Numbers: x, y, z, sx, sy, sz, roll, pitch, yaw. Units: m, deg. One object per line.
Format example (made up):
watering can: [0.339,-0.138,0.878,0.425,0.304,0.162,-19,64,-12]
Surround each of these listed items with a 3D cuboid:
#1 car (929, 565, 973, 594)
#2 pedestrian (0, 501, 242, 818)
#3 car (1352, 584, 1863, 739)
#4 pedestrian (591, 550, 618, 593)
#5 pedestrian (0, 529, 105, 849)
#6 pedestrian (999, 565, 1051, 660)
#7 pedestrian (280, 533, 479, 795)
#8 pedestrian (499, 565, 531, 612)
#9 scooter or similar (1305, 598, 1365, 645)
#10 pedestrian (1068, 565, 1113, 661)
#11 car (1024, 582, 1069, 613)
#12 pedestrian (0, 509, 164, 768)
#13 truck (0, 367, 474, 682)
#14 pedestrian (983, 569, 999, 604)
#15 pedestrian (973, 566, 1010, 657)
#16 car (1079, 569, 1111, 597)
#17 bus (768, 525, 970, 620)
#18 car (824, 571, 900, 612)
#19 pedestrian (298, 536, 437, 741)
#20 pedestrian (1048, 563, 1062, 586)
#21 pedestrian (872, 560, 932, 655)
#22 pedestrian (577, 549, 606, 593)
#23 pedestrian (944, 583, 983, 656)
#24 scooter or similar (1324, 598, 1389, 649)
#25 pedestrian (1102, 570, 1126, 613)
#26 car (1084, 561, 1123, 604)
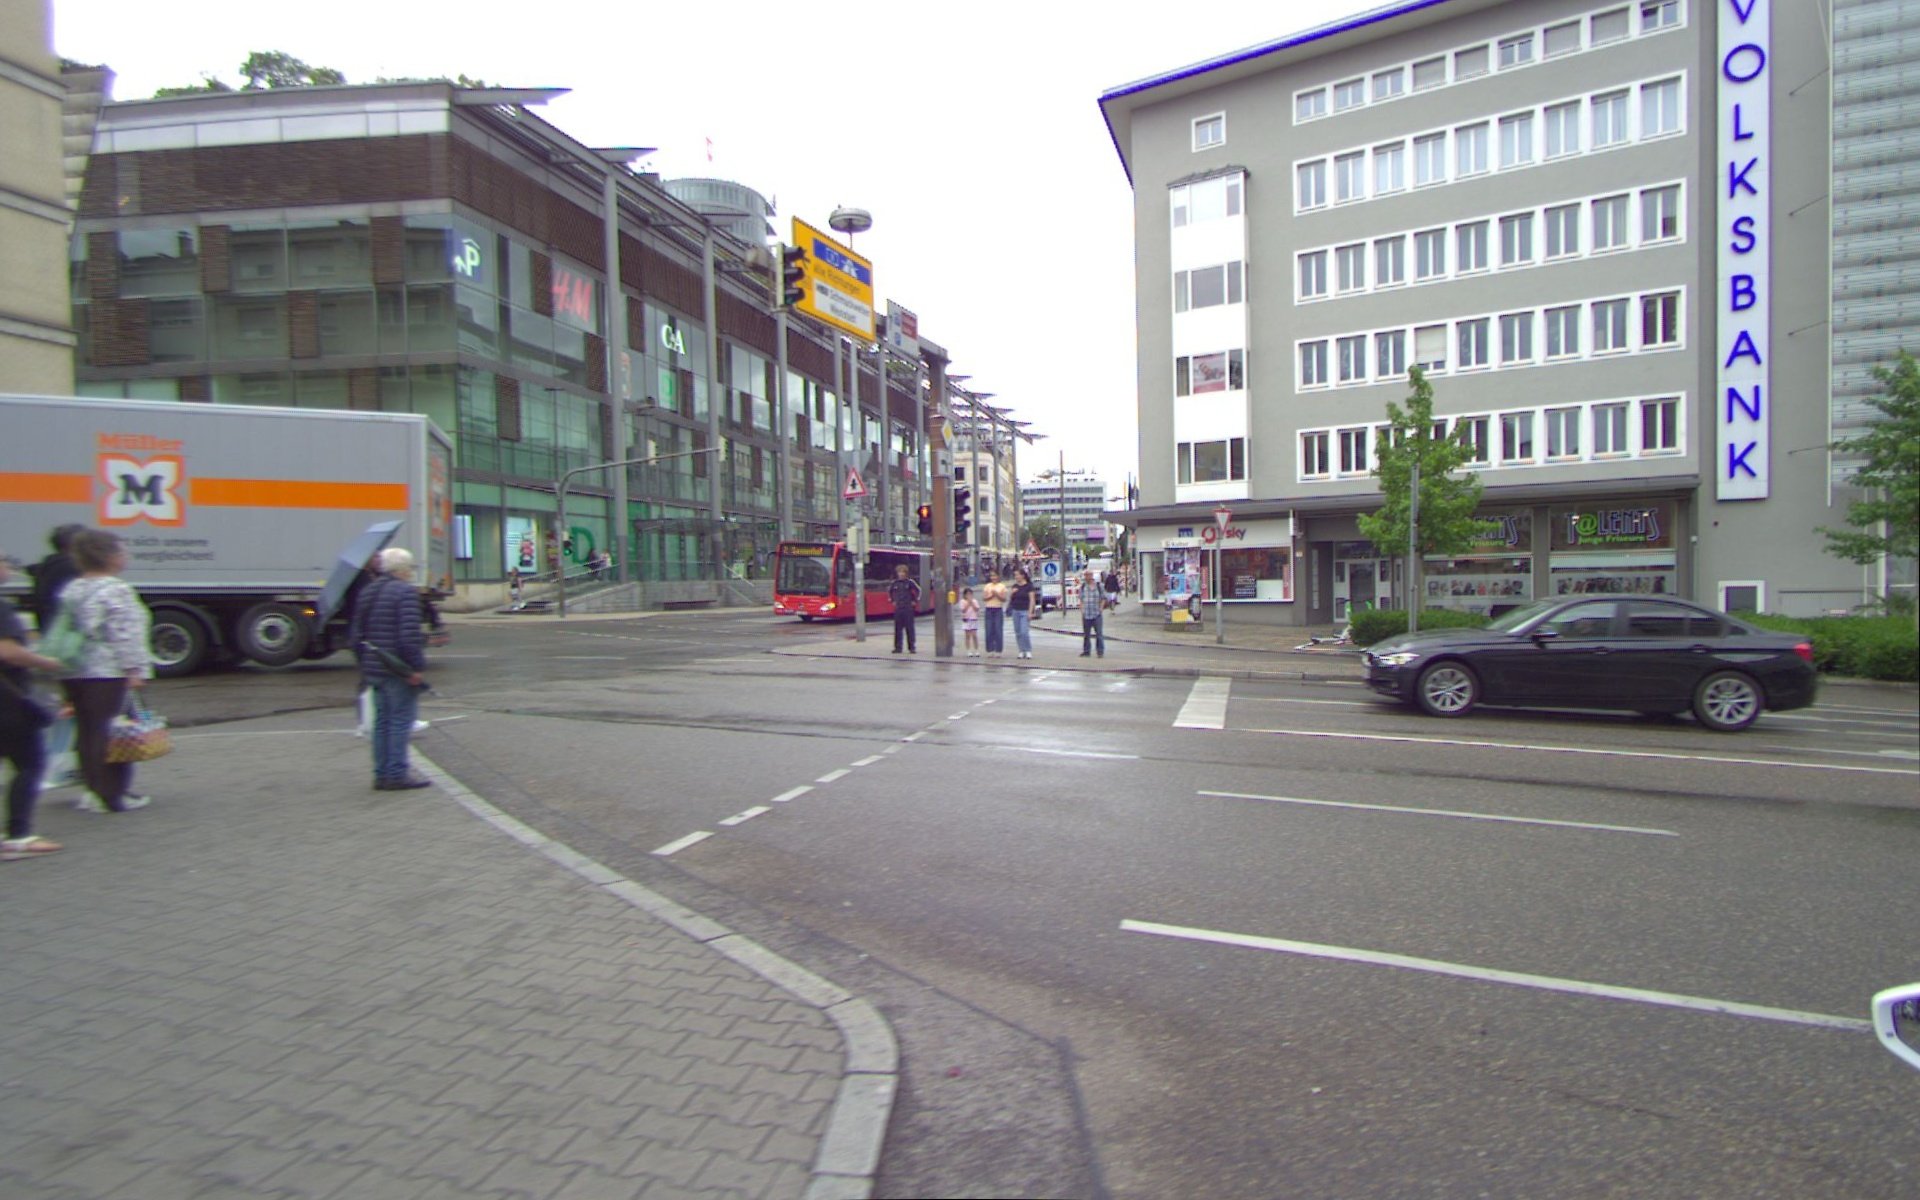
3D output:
car: [-0.619,-1.506,74.909,2.203,2.062,5.359,1,1,11]
pedestrian: [-5.058,0.306,5.956,0.962,1.695,0.915,2,1,20]
car: [7.106,0.598,11.644,4.540,1.445,2.001,2,1,15]
pedestrian: [-16.804,-1.339,47.483,0.860,2.007,0.850,1,1,14]
pedestrian: [-4.789,0.414,4.961,0.693,1.507,0.560,2,0,19]
pedestrian: [1.219,0.218,18.706,0.768,1.712,0.638,2,1,23]
pedestrian: [-3.792,0.384,6.611,0.701,1.589,0.855,2,0,19]
pedestrian: [-17.373,-0.438,39.232,1.038,1.785,0.688,0,1,-35]
scooter or similar: [9.786,0.547,26.234,1.361,1.203,0.542,0,0,35]
pedestrian: [2.551,0.244,19.533,0.815,1.802,0.618,1,1,9]
car: [4.719,-0.152,54.612,1.708,1.548,4.001,1,1,15]
pedestrian: [-6.364,0.252,7.196,0.771,1.734,0.707,2,0,19]
truck: [-13.569,-1.069,15.464,10.598,4.392,2.845,0,1,-17]
pedestrian: [1.645,-0.720,52.878,0.615,1.827,0.906,1,1,13]
pedestrian: [0.593,0.206,18.896,0.560,1.691,0.501,1,1,21]
car: [9.349,-1.141,69.273,1.829,1.850,4.105,1,1,12]
bus: [-3.214,-1.011,44.935,2.871,3.365,18.485,1,0,15]
car: [-5.345,-0.463,55.630,2.403,2.103,5.911,1,1,13]
pedestrian: [-5.197,0.319,8.837,0.744,1.714,0.693,2,0,19]
pedestrian: [8.132,-2.206,85.877,0.939,1.912,0.810,2,1,21]
pedestrian: [-1.131,0.135,19.812,0.992,1.811,0.854,1,1,8]
pedestrian: [-17.067,-1.330,46.556,0.866,2.007,0.975,1,1,14]
pedestrian: [0.070,0.355,19.095,0.619,1.357,0.588,1,1,9]
scooter or similar: [10.866,0.622,27.527,1.477,1.274,0.927,1,6,34]
pedestrian: [6.657,-0.364,43.387,1.004,1.799,0.800,1,1,9]
car: [10.876,-1.304,75.655,2.402,2.997,6.156,1,1,12]
